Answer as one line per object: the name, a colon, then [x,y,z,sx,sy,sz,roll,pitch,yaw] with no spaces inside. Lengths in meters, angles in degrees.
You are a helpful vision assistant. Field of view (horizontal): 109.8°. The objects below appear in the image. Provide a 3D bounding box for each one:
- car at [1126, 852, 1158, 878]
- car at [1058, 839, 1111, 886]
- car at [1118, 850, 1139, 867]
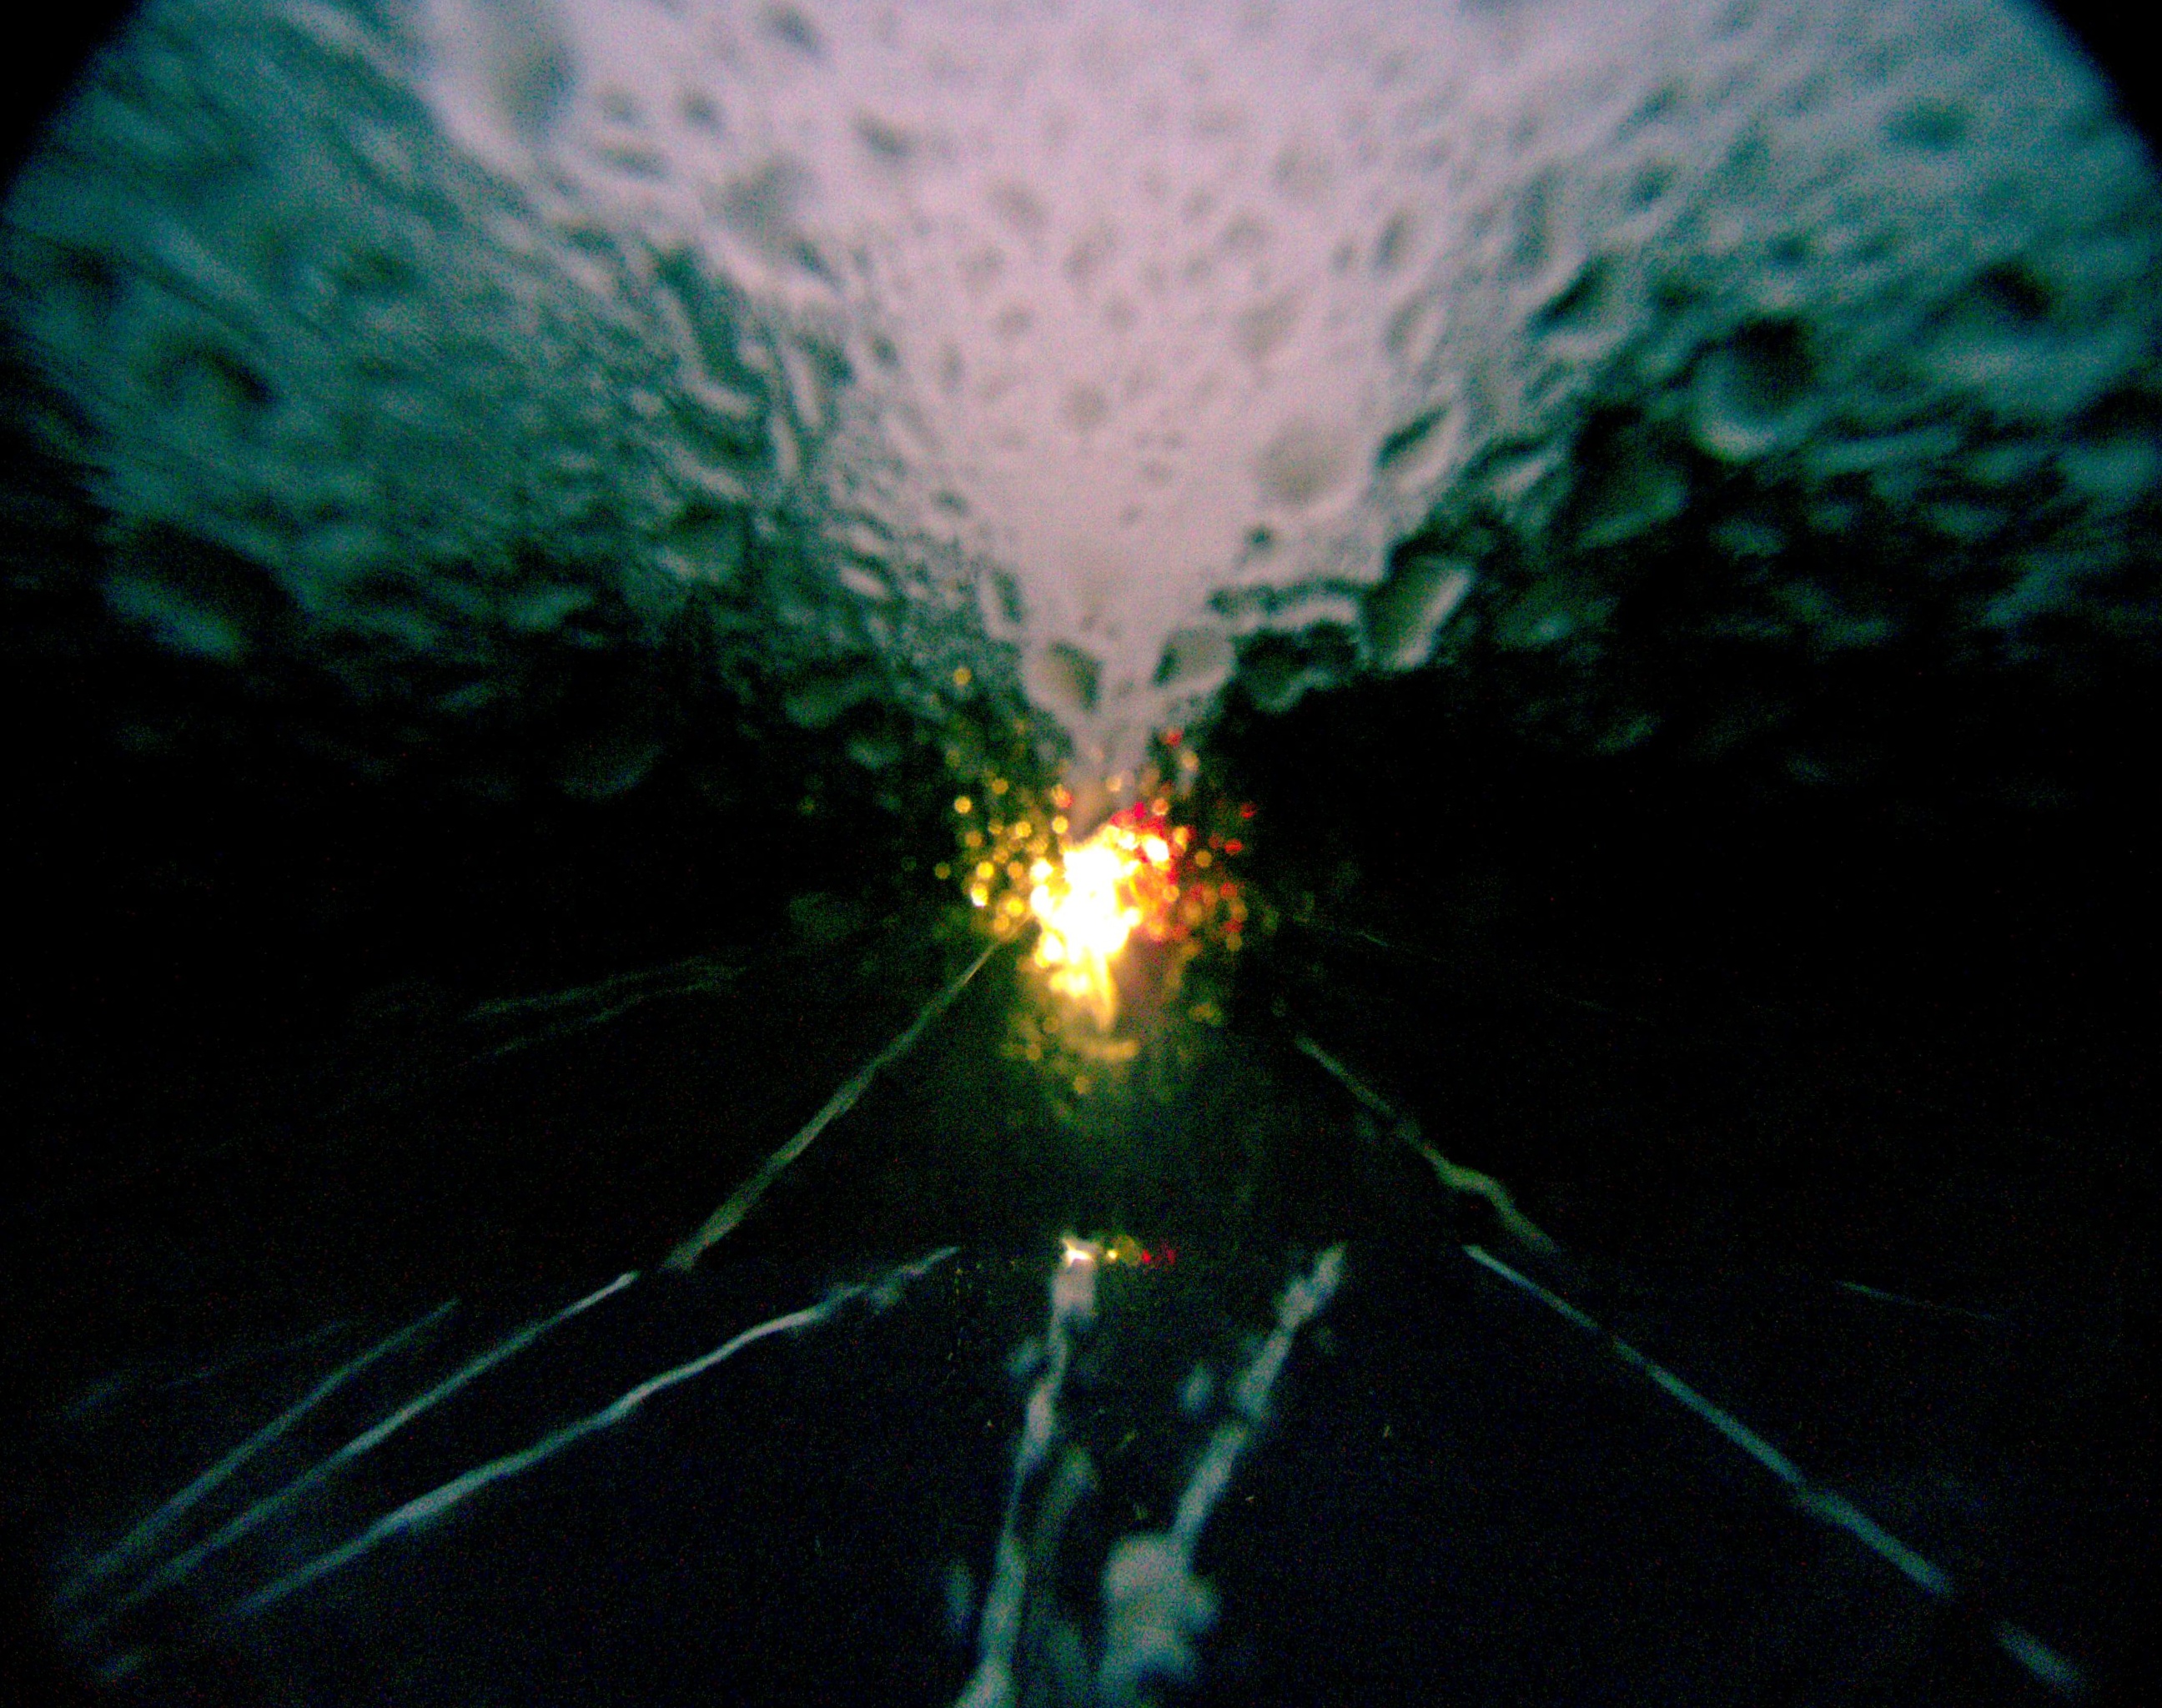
car: [4.041,0.745,51.034,1.826,1.639,4.750,1,0,1]
car: [0.271,0.380,40.251,2.542,2.213,6.169,-2,1,2]
car: [4.480,0.441,72.637,1.804,1.591,3.862,0,0,1]
